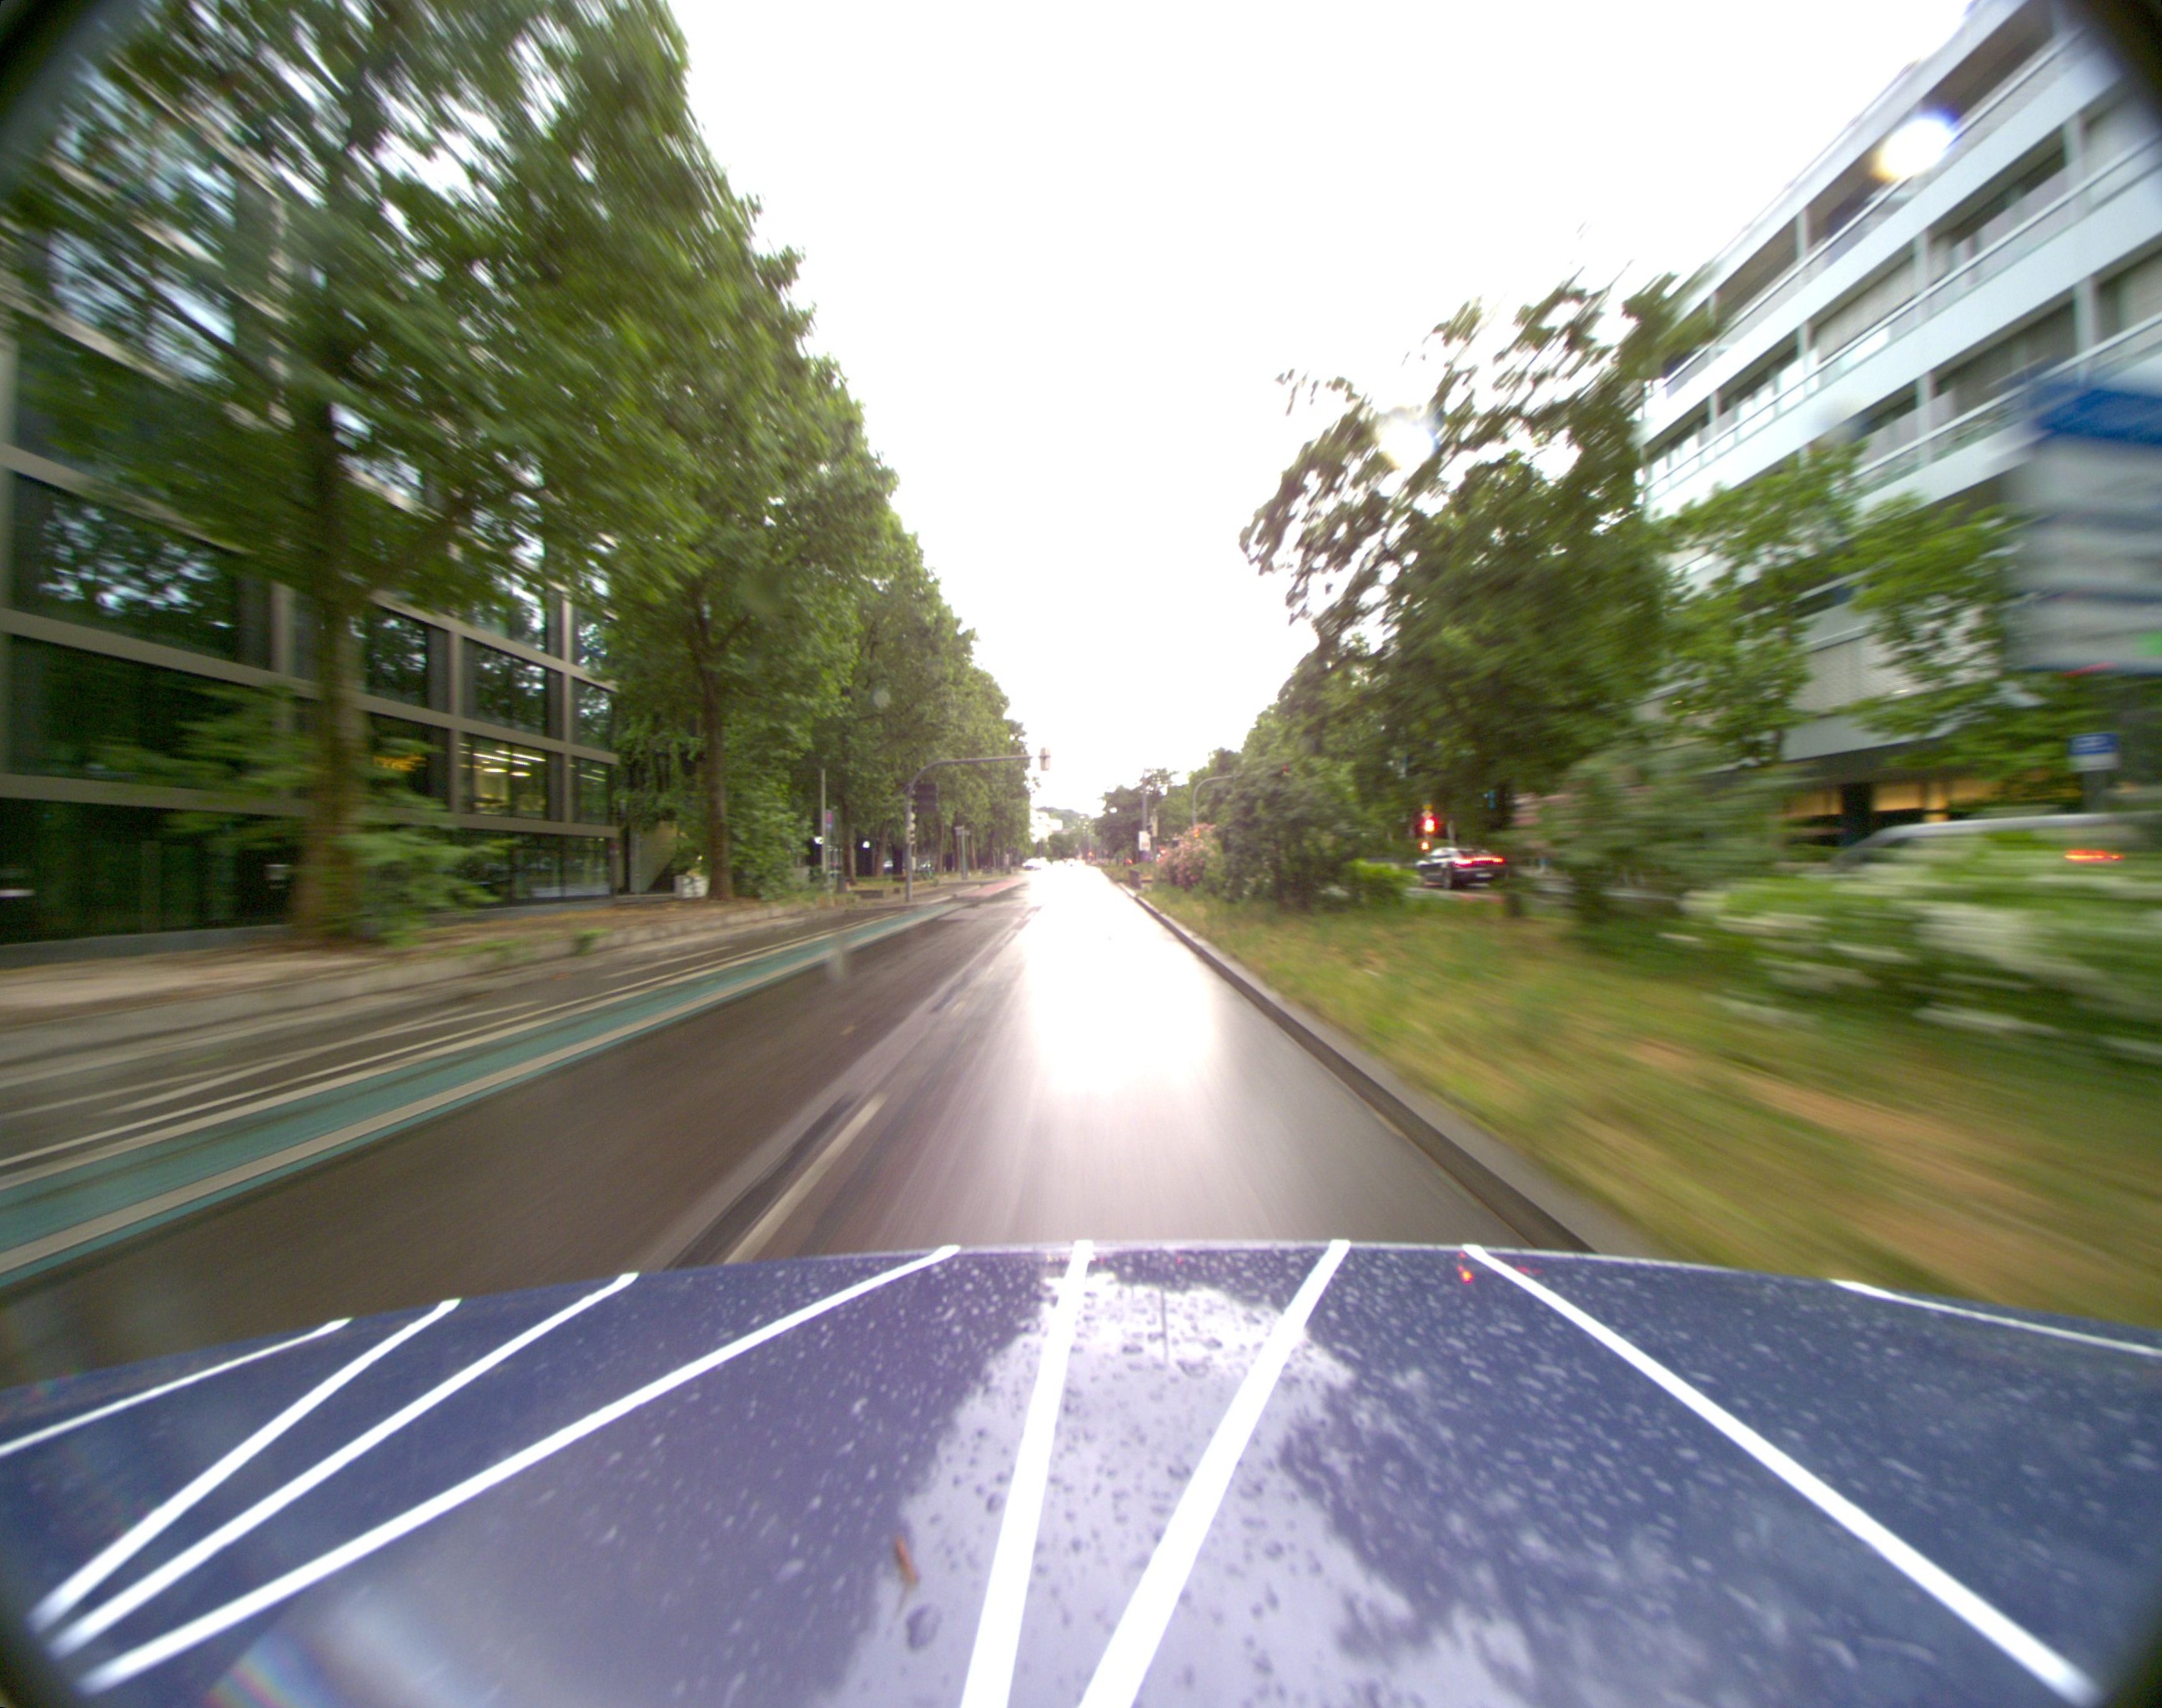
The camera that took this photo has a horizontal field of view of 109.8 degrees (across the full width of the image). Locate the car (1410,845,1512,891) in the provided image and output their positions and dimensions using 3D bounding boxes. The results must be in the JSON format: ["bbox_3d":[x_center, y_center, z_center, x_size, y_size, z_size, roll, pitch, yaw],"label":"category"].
[{"bbox_3d":[14.850,0.490,30.028,1.914,1.575,4.747,-3,1,4],"label":"car"}]

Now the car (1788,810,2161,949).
[{"bbox_3d":[14.307,0.309,12.038,1.918,1.746,4.675,-3,0,2],"label":"car"}]

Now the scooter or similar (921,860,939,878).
[{"bbox_3d":[-11.558,1.157,58.356,1.187,1.275,0.535,-3,1,-40],"label":"scooter or similar"}]

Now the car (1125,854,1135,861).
[{"bbox_3d":[10.817,0.839,168.305,1.678,1.381,3.527,-3,1,-3],"label":"car"}]

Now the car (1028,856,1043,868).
[{"bbox_3d":[-7.164,1.190,120.029,1.932,1.726,4.597,-3,1,-1],"label":"car"}]

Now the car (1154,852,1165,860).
[{"bbox_3d":[16.937,0.496,163.359,1.781,1.565,3.728,-3,1,-1],"label":"car"}]

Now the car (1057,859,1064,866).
[{"bbox_3d":[-4.717,1.922,177.329,1.557,1.534,3.663,-3,1,0],"label":"car"}]
